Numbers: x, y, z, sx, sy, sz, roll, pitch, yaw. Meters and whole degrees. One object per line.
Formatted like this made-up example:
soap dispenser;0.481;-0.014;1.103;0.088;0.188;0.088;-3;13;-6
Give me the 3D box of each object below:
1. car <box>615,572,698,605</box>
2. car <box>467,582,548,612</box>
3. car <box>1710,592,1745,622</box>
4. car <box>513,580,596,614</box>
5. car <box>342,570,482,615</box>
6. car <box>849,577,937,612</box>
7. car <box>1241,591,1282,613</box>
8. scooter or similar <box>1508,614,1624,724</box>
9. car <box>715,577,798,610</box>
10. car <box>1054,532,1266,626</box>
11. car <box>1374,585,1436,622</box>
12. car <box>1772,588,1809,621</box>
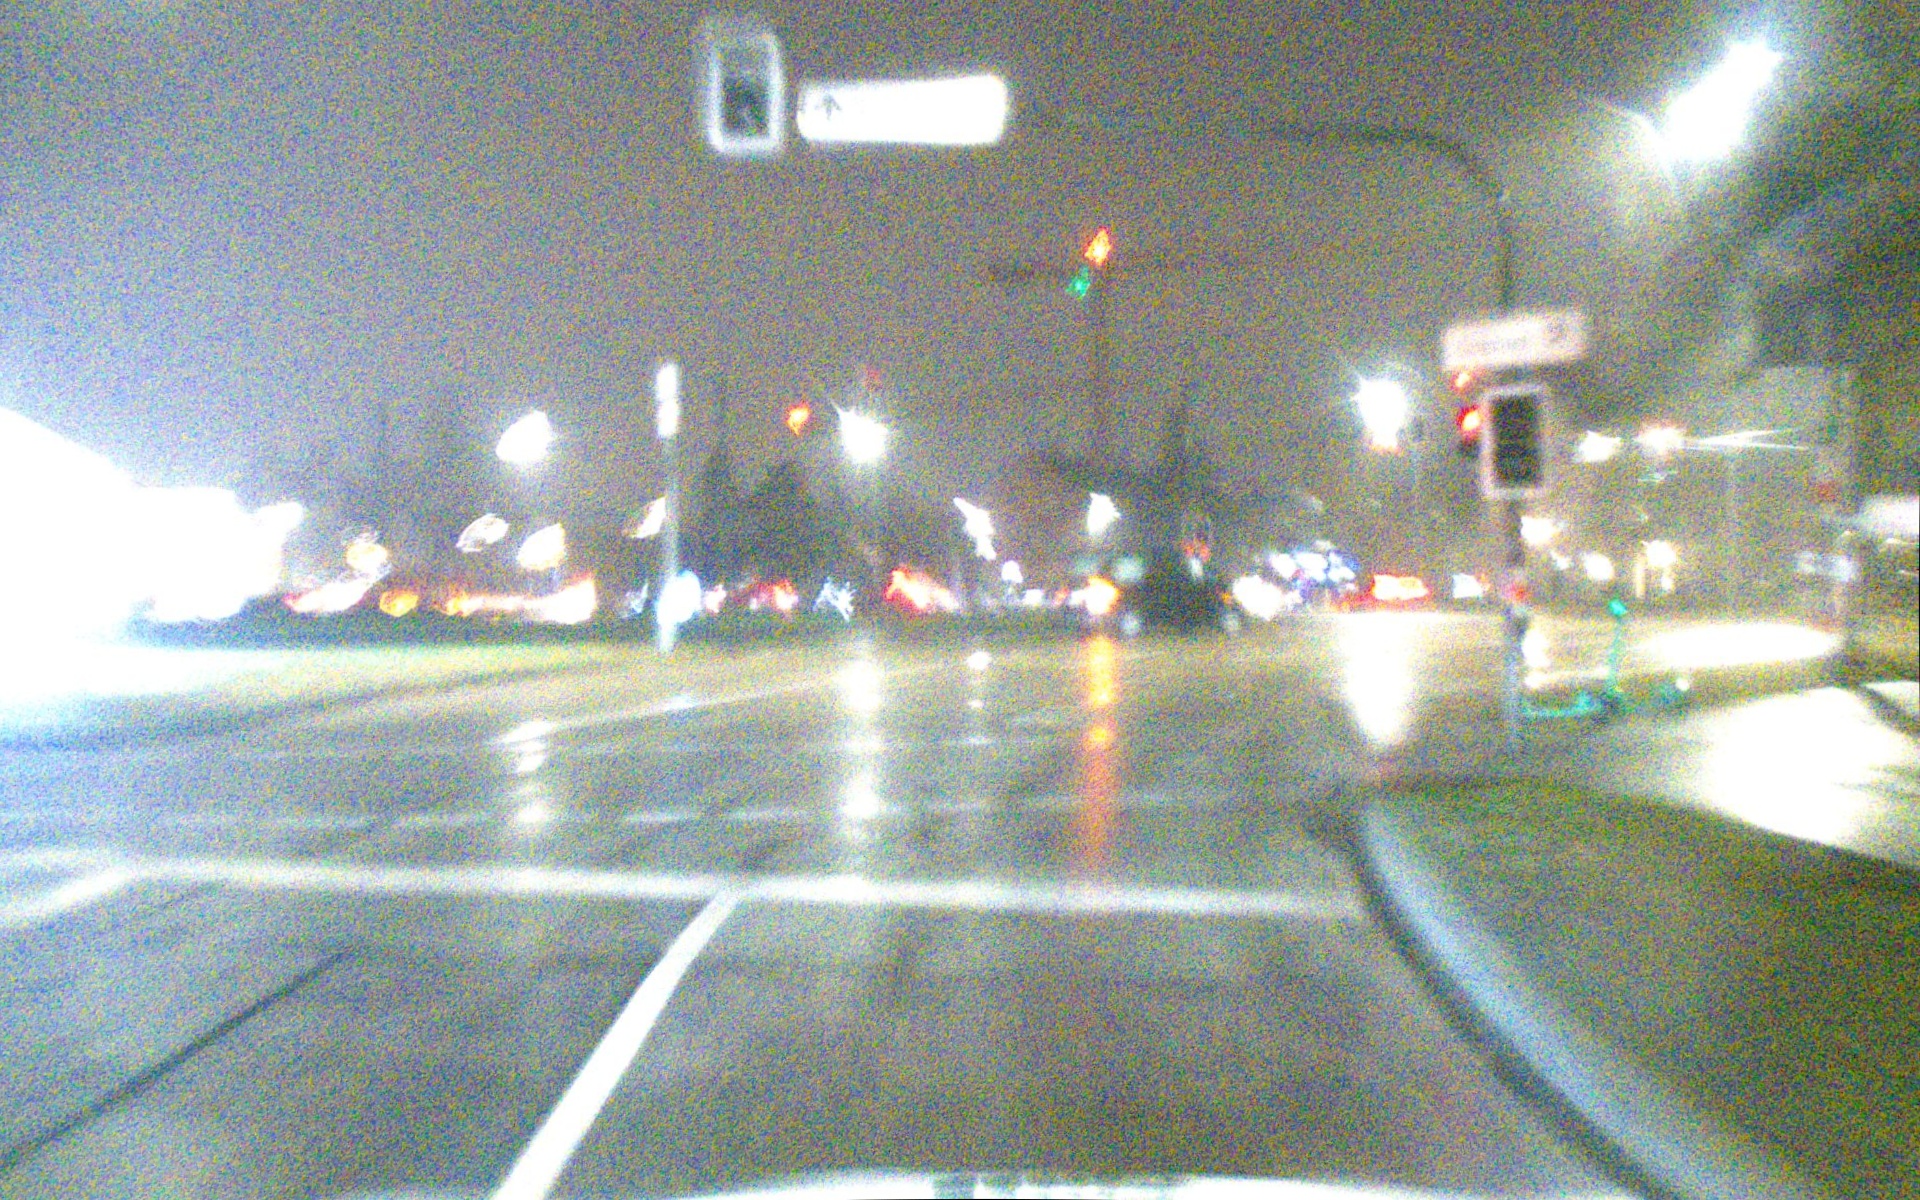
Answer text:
car;-15.216;-0.574;83.047;3.873;1.606;1.736;1;0;-4
car;-23.615;-0.180;86.447;3.915;1.512;1.765;1;0;-10
car;41.498;0.361;89.382;1.682;1.523;3.908;1;0;26
car;-20.343;-0.154;83.097;3.913;1.644;1.833;1;0;-9
car;-26.700;-0.360;80.643;6.218;2.125;2.494;0;0;-27
car;-3.312;-0.280;81.582;3.907;1.644;1.836;1;0;24
car;25.936;0.160;142.324;1.840;1.789;4.379;1;0;35
scooter or similar;6.295;0.713;17.189;1.079;1.117;0.317;-1;-1;26
car;-10.192;-0.314;83.104;3.869;1.606;1.878;1;0;3
car;4.613;-0.464;38.257;4.478;2.049;1.987;0;0;-22
car;19.091;0.141;71.141;1.681;1.523;3.912;1;0;1
car;44.070;0.263;87.838;1.682;1.523;3.907;0;-3;26
